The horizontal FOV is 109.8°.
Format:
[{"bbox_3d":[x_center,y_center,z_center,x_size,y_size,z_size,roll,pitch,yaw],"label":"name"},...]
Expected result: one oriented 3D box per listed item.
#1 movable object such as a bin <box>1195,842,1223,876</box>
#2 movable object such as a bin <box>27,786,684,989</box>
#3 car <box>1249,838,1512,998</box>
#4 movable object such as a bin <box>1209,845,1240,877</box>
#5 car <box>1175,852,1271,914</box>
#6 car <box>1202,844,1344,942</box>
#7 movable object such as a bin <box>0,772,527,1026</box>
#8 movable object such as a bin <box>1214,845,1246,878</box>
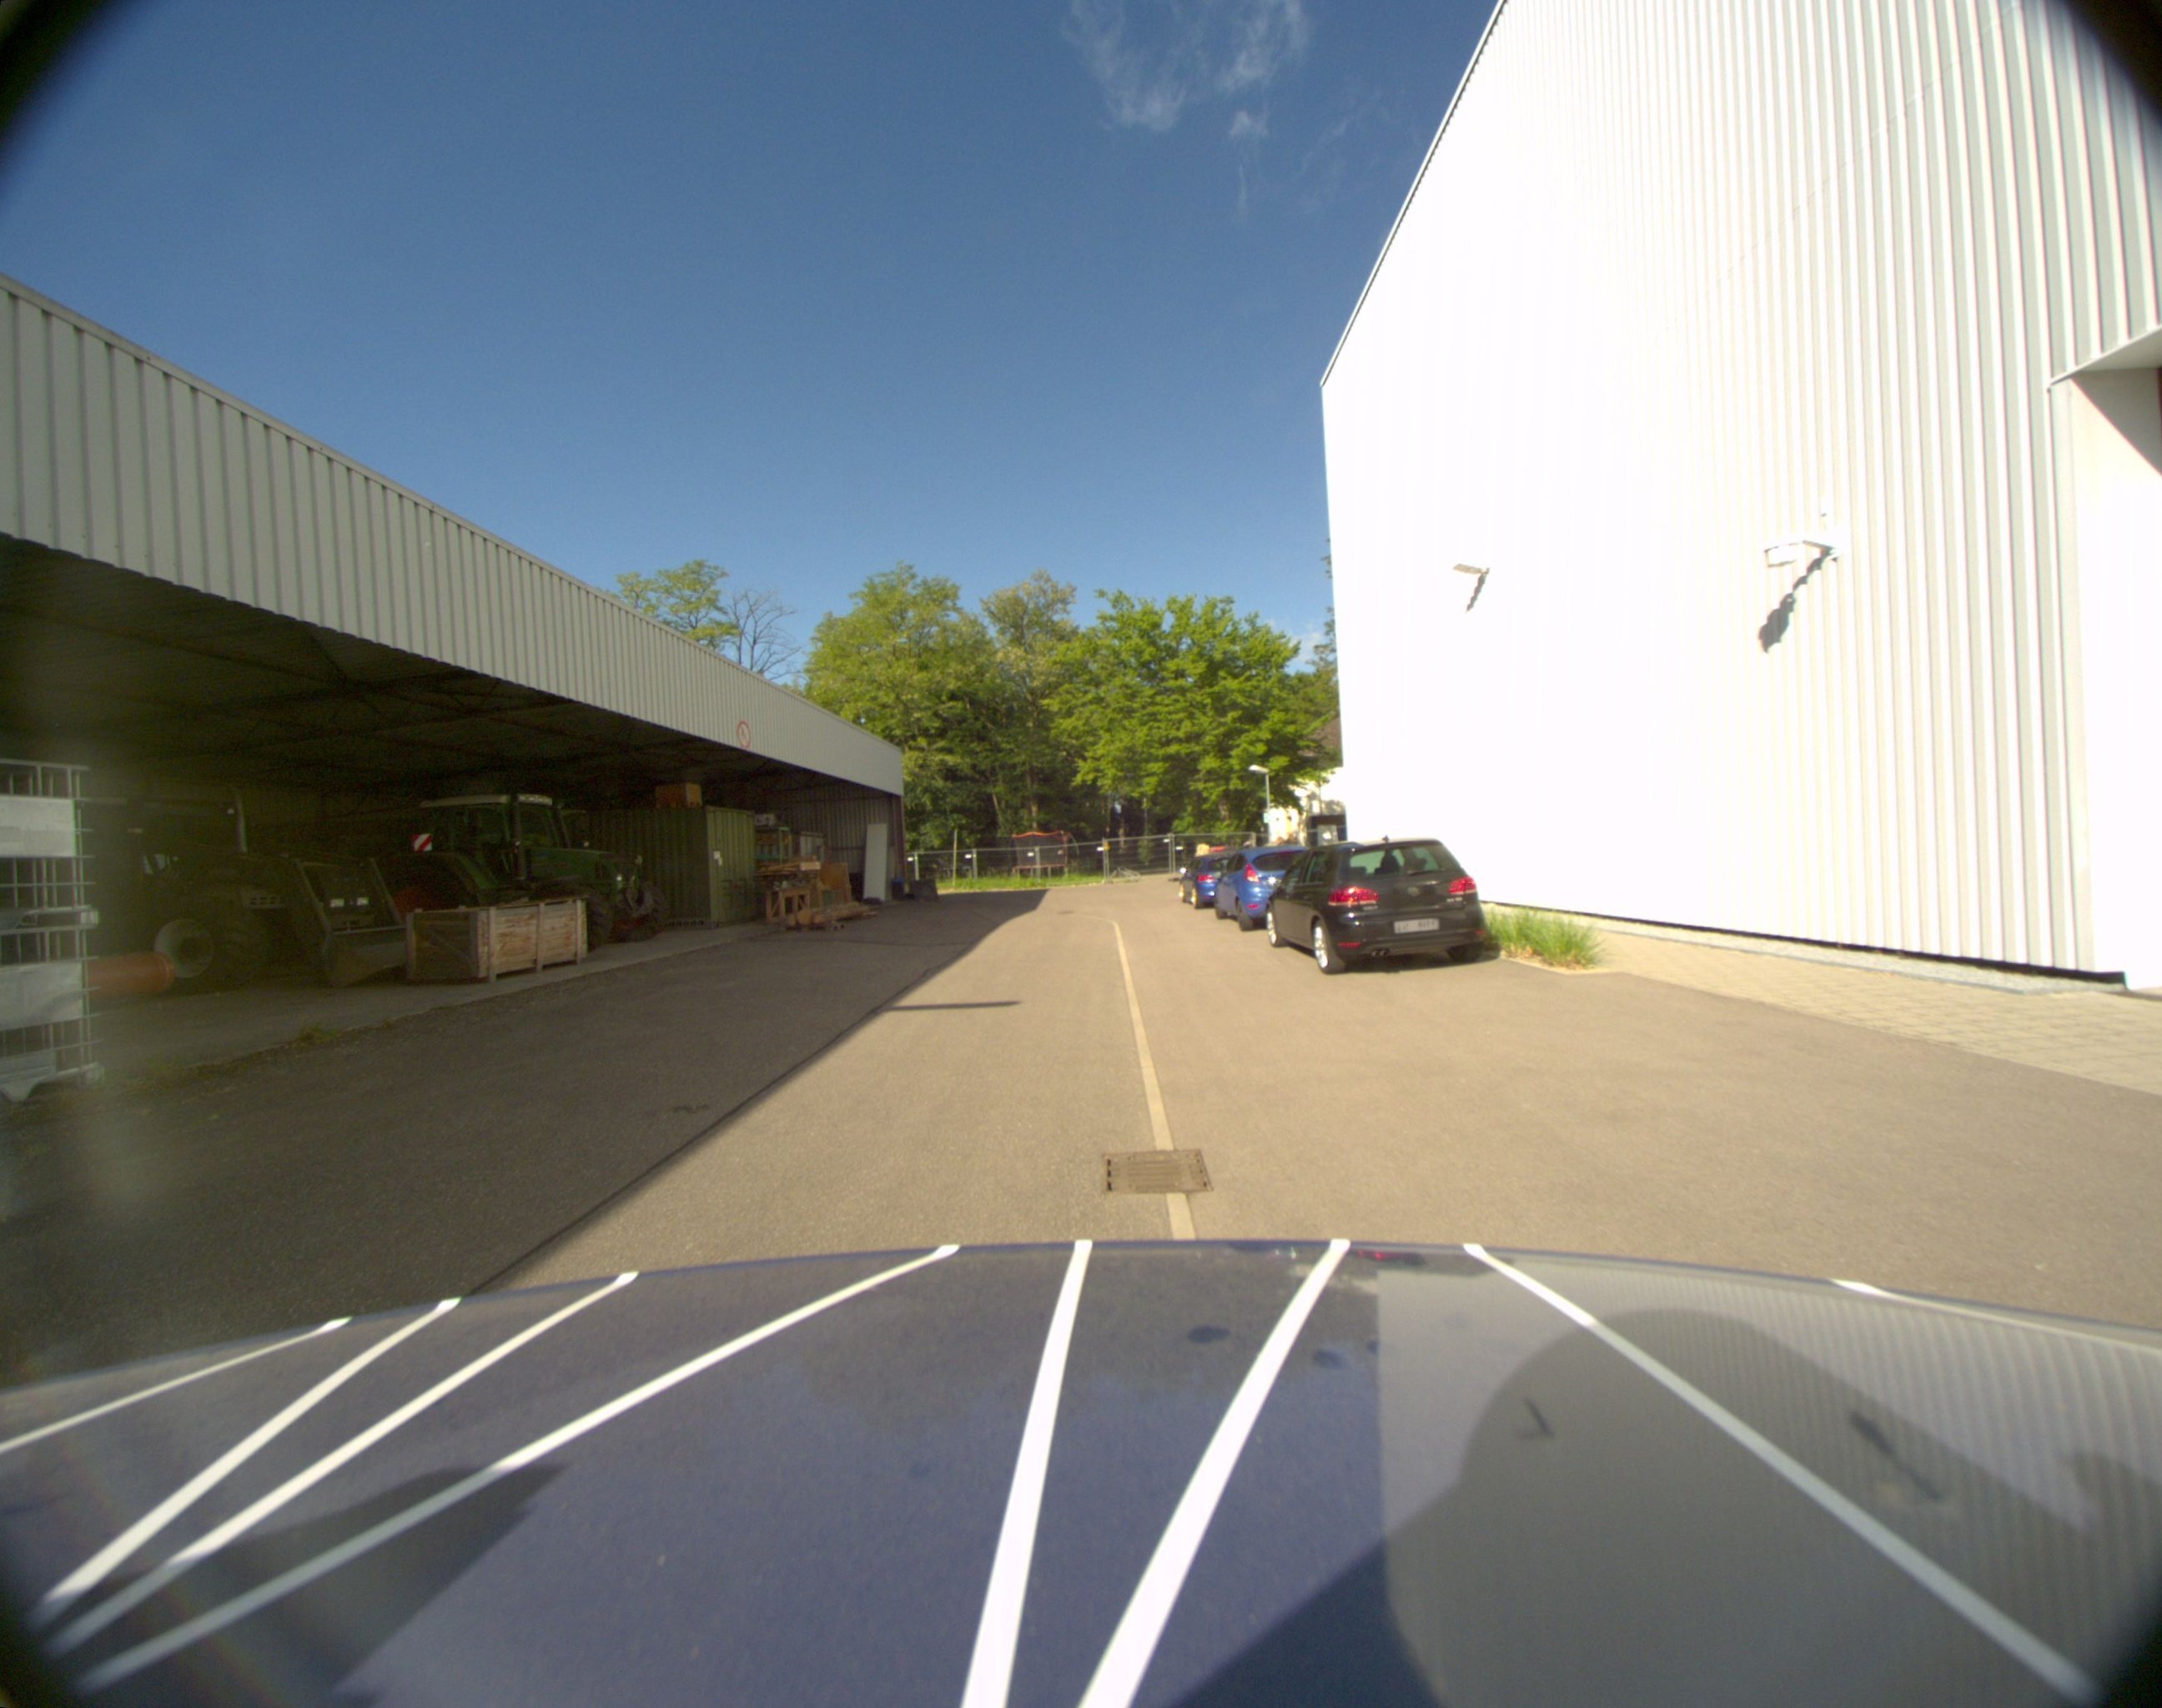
[{"bbox_3d":[6.529,0.242,38.910,1.093,1.588,1.230,-4,2,-4],"label":"movable object such as a bin"},{"bbox_3d":[-12.880,0.568,14.150,9.214,2.893,3.212,-3,0,2],"label":"movable object such as a bin"},{"bbox_3d":[3.531,0.648,9.909,1.758,1.491,4.294,-5,0,2],"label":"car"},{"bbox_3d":[6.964,0.315,37.002,1.093,1.431,1.230,-5,1,-4],"label":"movable object such as a bin"},{"bbox_3d":[3.649,0.694,20.218,1.778,1.352,4.053,-4,0,1],"label":"car"},{"bbox_3d":[3.554,0.646,14.806,1.635,1.491,4.094,-6,0,1],"label":"car"},{"bbox_3d":[-12.153,0.608,10.827,6.200,2.893,3.016,-3,0,2],"label":"movable object such as a bin"},{"bbox_3d":[6.974,0.354,35.669,1.093,1.424,1.230,-5,1,-4],"label":"movable object such as a bin"}]
